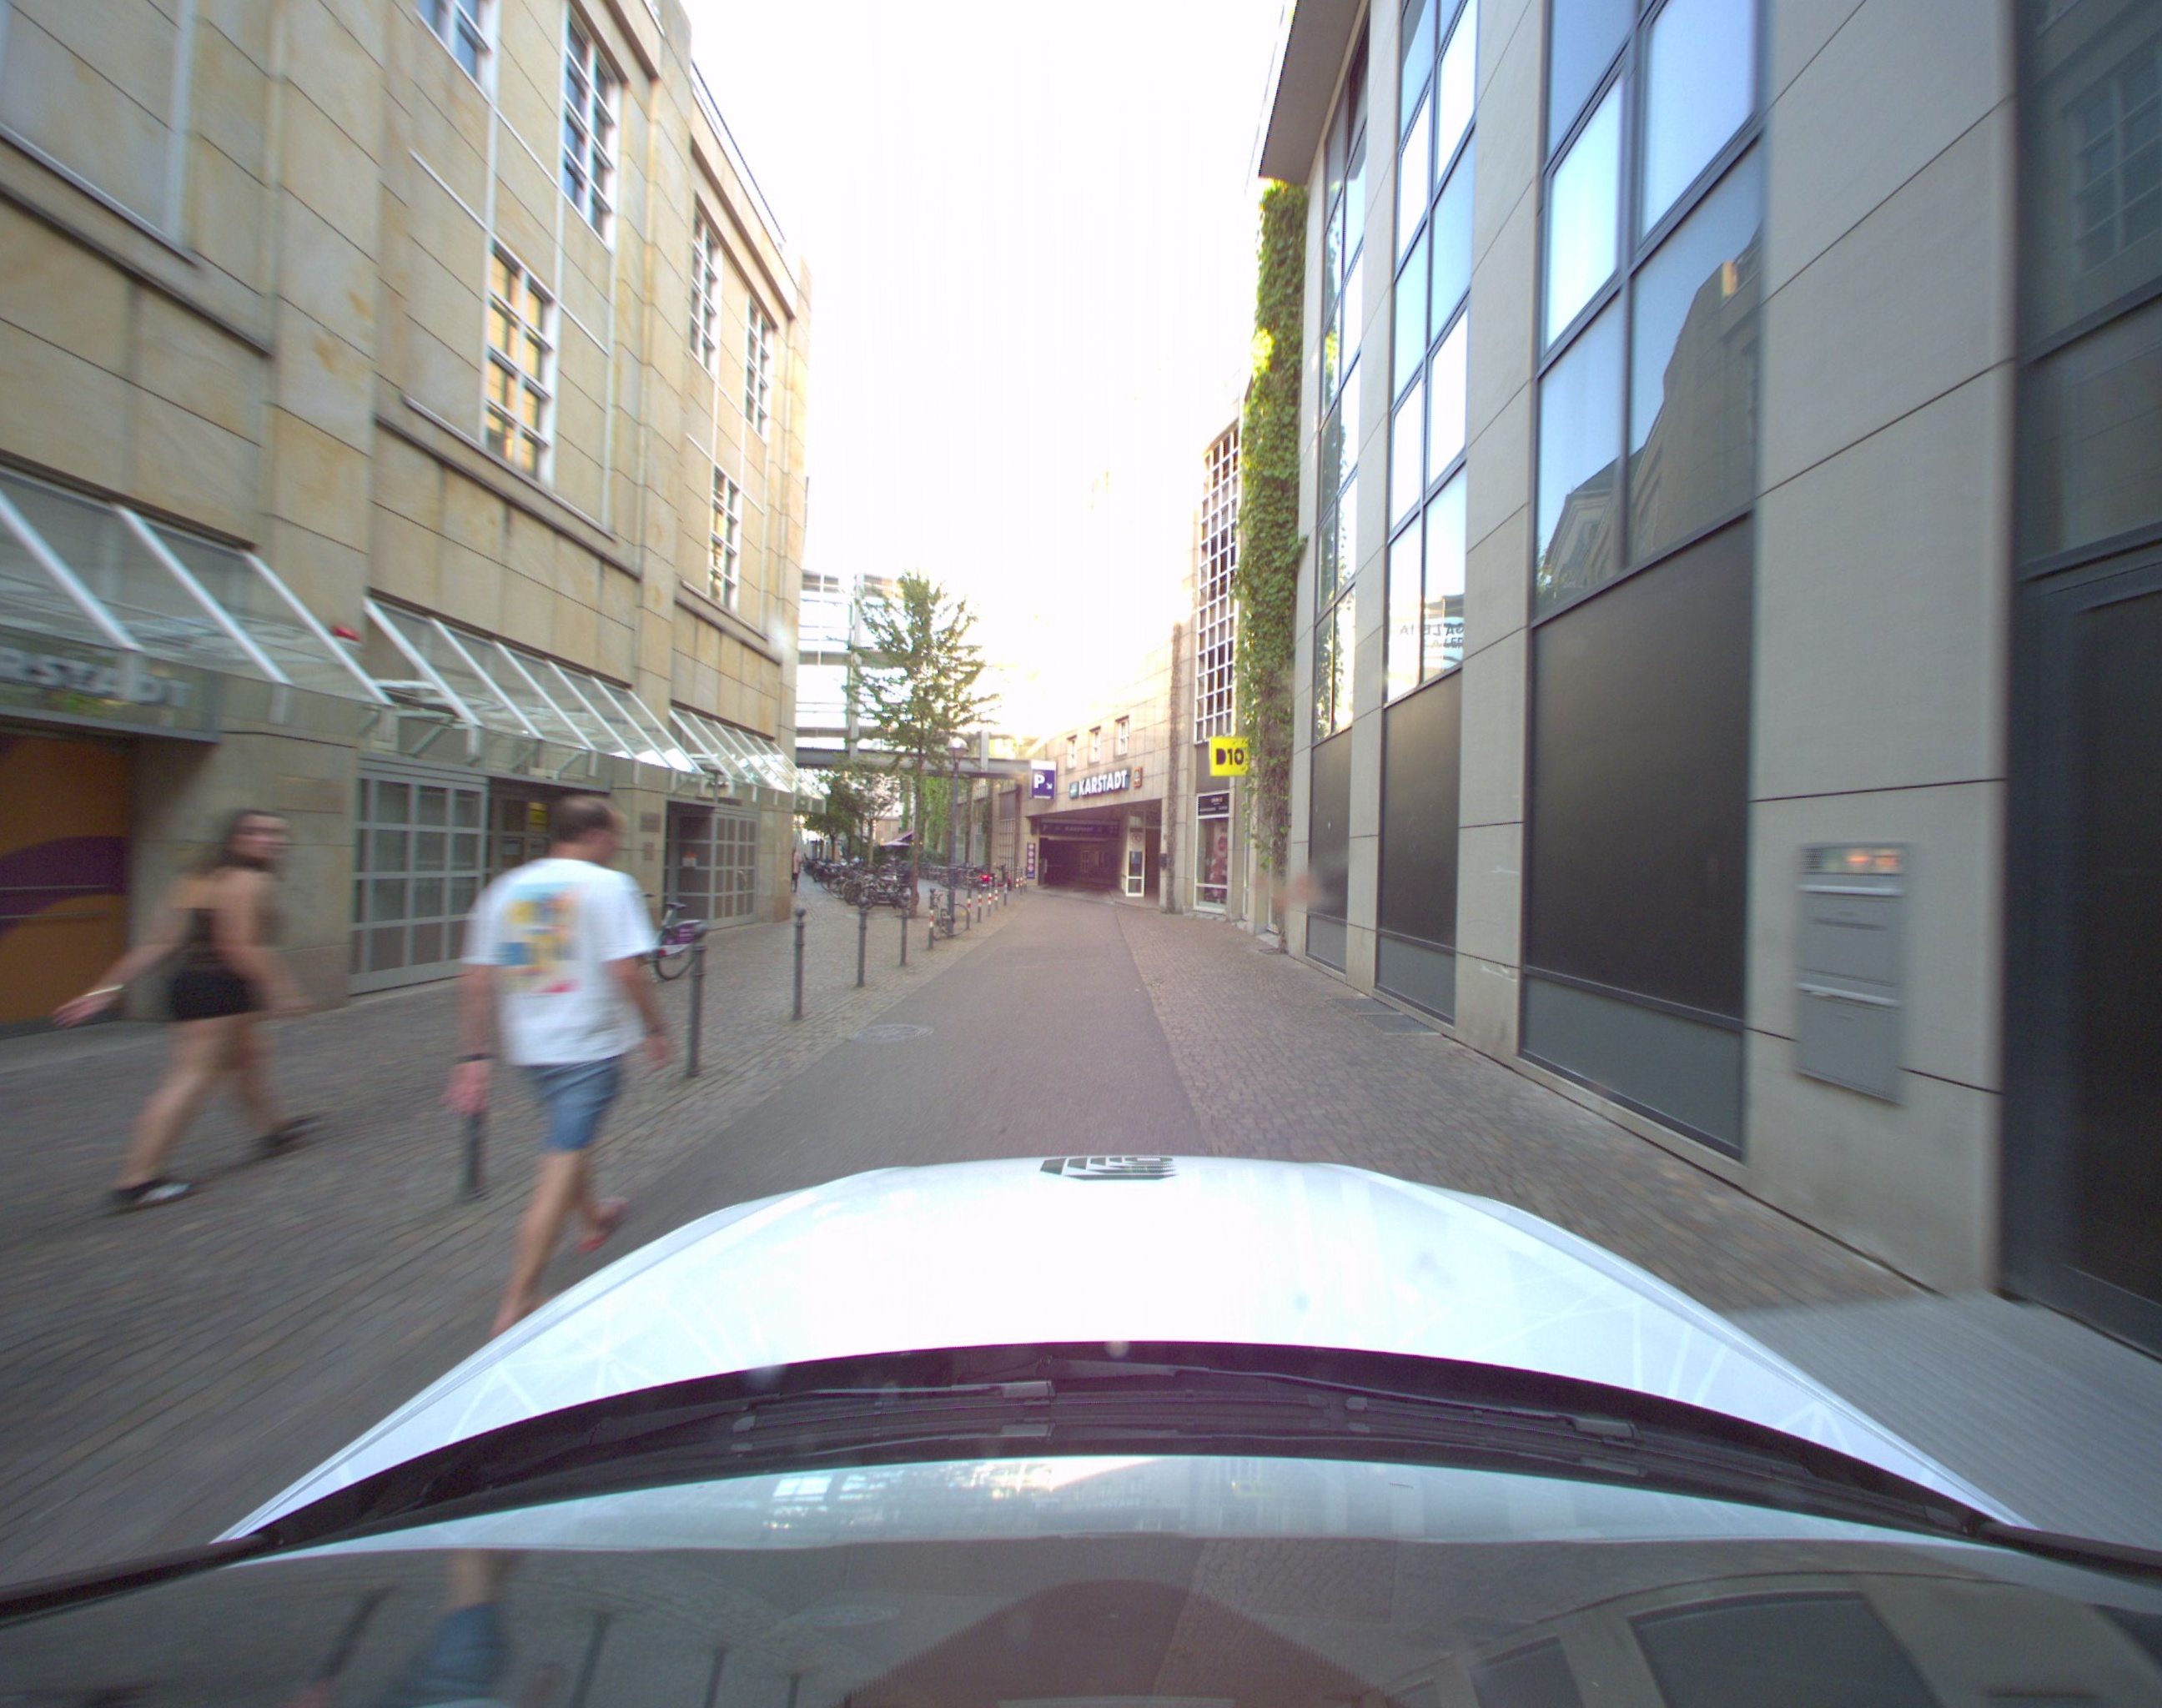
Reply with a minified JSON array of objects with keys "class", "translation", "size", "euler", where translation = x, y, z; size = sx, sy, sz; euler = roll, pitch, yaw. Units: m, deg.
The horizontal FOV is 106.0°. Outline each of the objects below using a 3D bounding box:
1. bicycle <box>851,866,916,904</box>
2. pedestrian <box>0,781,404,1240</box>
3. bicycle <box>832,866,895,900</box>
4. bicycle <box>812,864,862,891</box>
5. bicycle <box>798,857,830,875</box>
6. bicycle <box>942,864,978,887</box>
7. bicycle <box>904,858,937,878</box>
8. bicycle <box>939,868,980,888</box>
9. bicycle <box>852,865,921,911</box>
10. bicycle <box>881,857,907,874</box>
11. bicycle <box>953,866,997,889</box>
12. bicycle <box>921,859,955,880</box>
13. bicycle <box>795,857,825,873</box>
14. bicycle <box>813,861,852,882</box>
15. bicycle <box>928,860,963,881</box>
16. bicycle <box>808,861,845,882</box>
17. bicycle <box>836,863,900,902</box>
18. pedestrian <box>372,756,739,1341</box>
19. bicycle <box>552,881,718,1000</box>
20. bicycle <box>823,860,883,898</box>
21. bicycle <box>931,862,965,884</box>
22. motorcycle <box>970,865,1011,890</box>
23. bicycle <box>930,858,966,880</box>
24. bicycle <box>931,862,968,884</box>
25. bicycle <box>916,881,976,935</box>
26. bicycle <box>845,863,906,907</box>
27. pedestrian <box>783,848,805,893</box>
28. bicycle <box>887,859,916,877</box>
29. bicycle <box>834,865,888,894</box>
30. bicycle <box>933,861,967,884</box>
[{"class":"bicycle","translation":[-5.953,0.919,24.593],"size":[1.844,1.122,0.530],"euler":[0,0,-23]},{"class":"pedestrian","translation":[-3.945,0.608,3.741],"size":[0.780,1.795,0.975],"euler":[1,0,11]},{"class":"bicycle","translation":[-6.959,0.915,26.065],"size":[1.902,1.052,0.530],"euler":[0,0,-23]},{"class":"bicycle","translation":[-9.666,0.934,32.248],"size":[1.832,1.043,0.530],"euler":[0,0,-23]},{"class":"bicycle","translation":[-17.072,0.782,52.026],"size":[1.912,1.112,0.477],"euler":[0,0,-23]},{"class":"bicycle","translation":[-5.653,0.996,38.011],"size":[1.545,1.049,0.571],"euler":[1,0,-21]},{"class":"bicycle","translation":[-9.290,0.811,47.078],"size":[1.779,1.114,0.539],"euler":[1,0,-21]},{"class":"bicycle","translation":[-5.509,1.102,37.062],"size":[1.779,0.904,0.460],"euler":[1,0,-21]},{"class":"bicycle","translation":[-5.356,0.918,22.431],"size":[1.774,1.231,0.530],"euler":[0,0,-23]},{"class":"bicycle","translation":[-13.392,0.824,58.250],"size":[1.779,1.190,0.582],"euler":[1,0,-21]},{"class":"bicycle","translation":[-4.713,1.031,36.221],"size":[1.854,0.982,0.460],"euler":[1,0,-21]},{"class":"bicycle","translation":[-7.869,0.839,44.892],"size":[1.779,1.114,0.539],"euler":[1,0,-21]},{"class":"bicycle","translation":[-18.676,0.749,56.125],"size":[1.912,1.112,0.477],"euler":[0,0,-23]},{"class":"bicycle","translation":[-12.437,0.858,40.767],"size":[1.787,1.019,0.477],"euler":[0,0,-23]},{"class":"bicycle","translation":[-7.308,0.898,43.814],"size":[1.779,1.114,0.539],"euler":[1,0,-21]},{"class":"bicycle","translation":[-13.010,0.885,41.597],"size":[1.787,1.019,0.477],"euler":[0,0,-23]},{"class":"bicycle","translation":[-6.680,0.891,25.539],"size":[1.880,1.177,0.530],"euler":[0,0,-23]},{"class":"pedestrian","translation":[-1.823,0.609,2.984],"size":[0.740,1.822,0.878],"euler":[1,0,-1]},{"class":"bicycle","translation":[-4.942,0.907,9.178],"size":[0.517,1.138,1.772],"euler":[1,0,16]},{"class":"bicycle","translation":[-7.474,0.807,26.733],"size":[1.841,1.225,0.530],"euler":[0,0,-23]},{"class":"bicycle","translation":[-6.587,0.950,40.373],"size":[1.545,1.049,0.571],"euler":[1,0,-21]},{"class":"motorcycle","translation":[-3.845,0.988,34.606],"size":[1.669,1.050,0.460],"euler":[1,0,-21]},{"class":"bicycle","translation":[-6.945,0.807,42.617],"size":[1.779,1.114,0.539],"euler":[1,0,-21]},{"class":"bicycle","translation":[-6.686,0.953,41.546],"size":[1.779,1.114,0.539],"euler":[1,0,-21]},{"class":"bicycle","translation":[-2.644,1.043,16.105],"size":[0.489,0.939,1.666],"euler":[2,0,15]},{"class":"bicycle","translation":[-5.996,0.893,23.770],"size":[1.660,1.231,0.530],"euler":[0,0,-23]},{"class":"pedestrian","translation":[-10.379,0.579,29.407],"size":[0.701,1.582,0.714],"euler":[1,0,-22]},{"class":"bicycle","translation":[-11.648,0.900,52.823],"size":[1.778,1.114,0.539],"euler":[1,0,-18]},{"class":"bicycle","translation":[-8.226,0.941,30.508],"size":[1.884,1.043,0.530],"euler":[0,0,-23]},{"class":"bicycle","translation":[-6.281,0.892,38.981],"size":[1.545,1.049,0.571],"euler":[1,0,-21]}]
